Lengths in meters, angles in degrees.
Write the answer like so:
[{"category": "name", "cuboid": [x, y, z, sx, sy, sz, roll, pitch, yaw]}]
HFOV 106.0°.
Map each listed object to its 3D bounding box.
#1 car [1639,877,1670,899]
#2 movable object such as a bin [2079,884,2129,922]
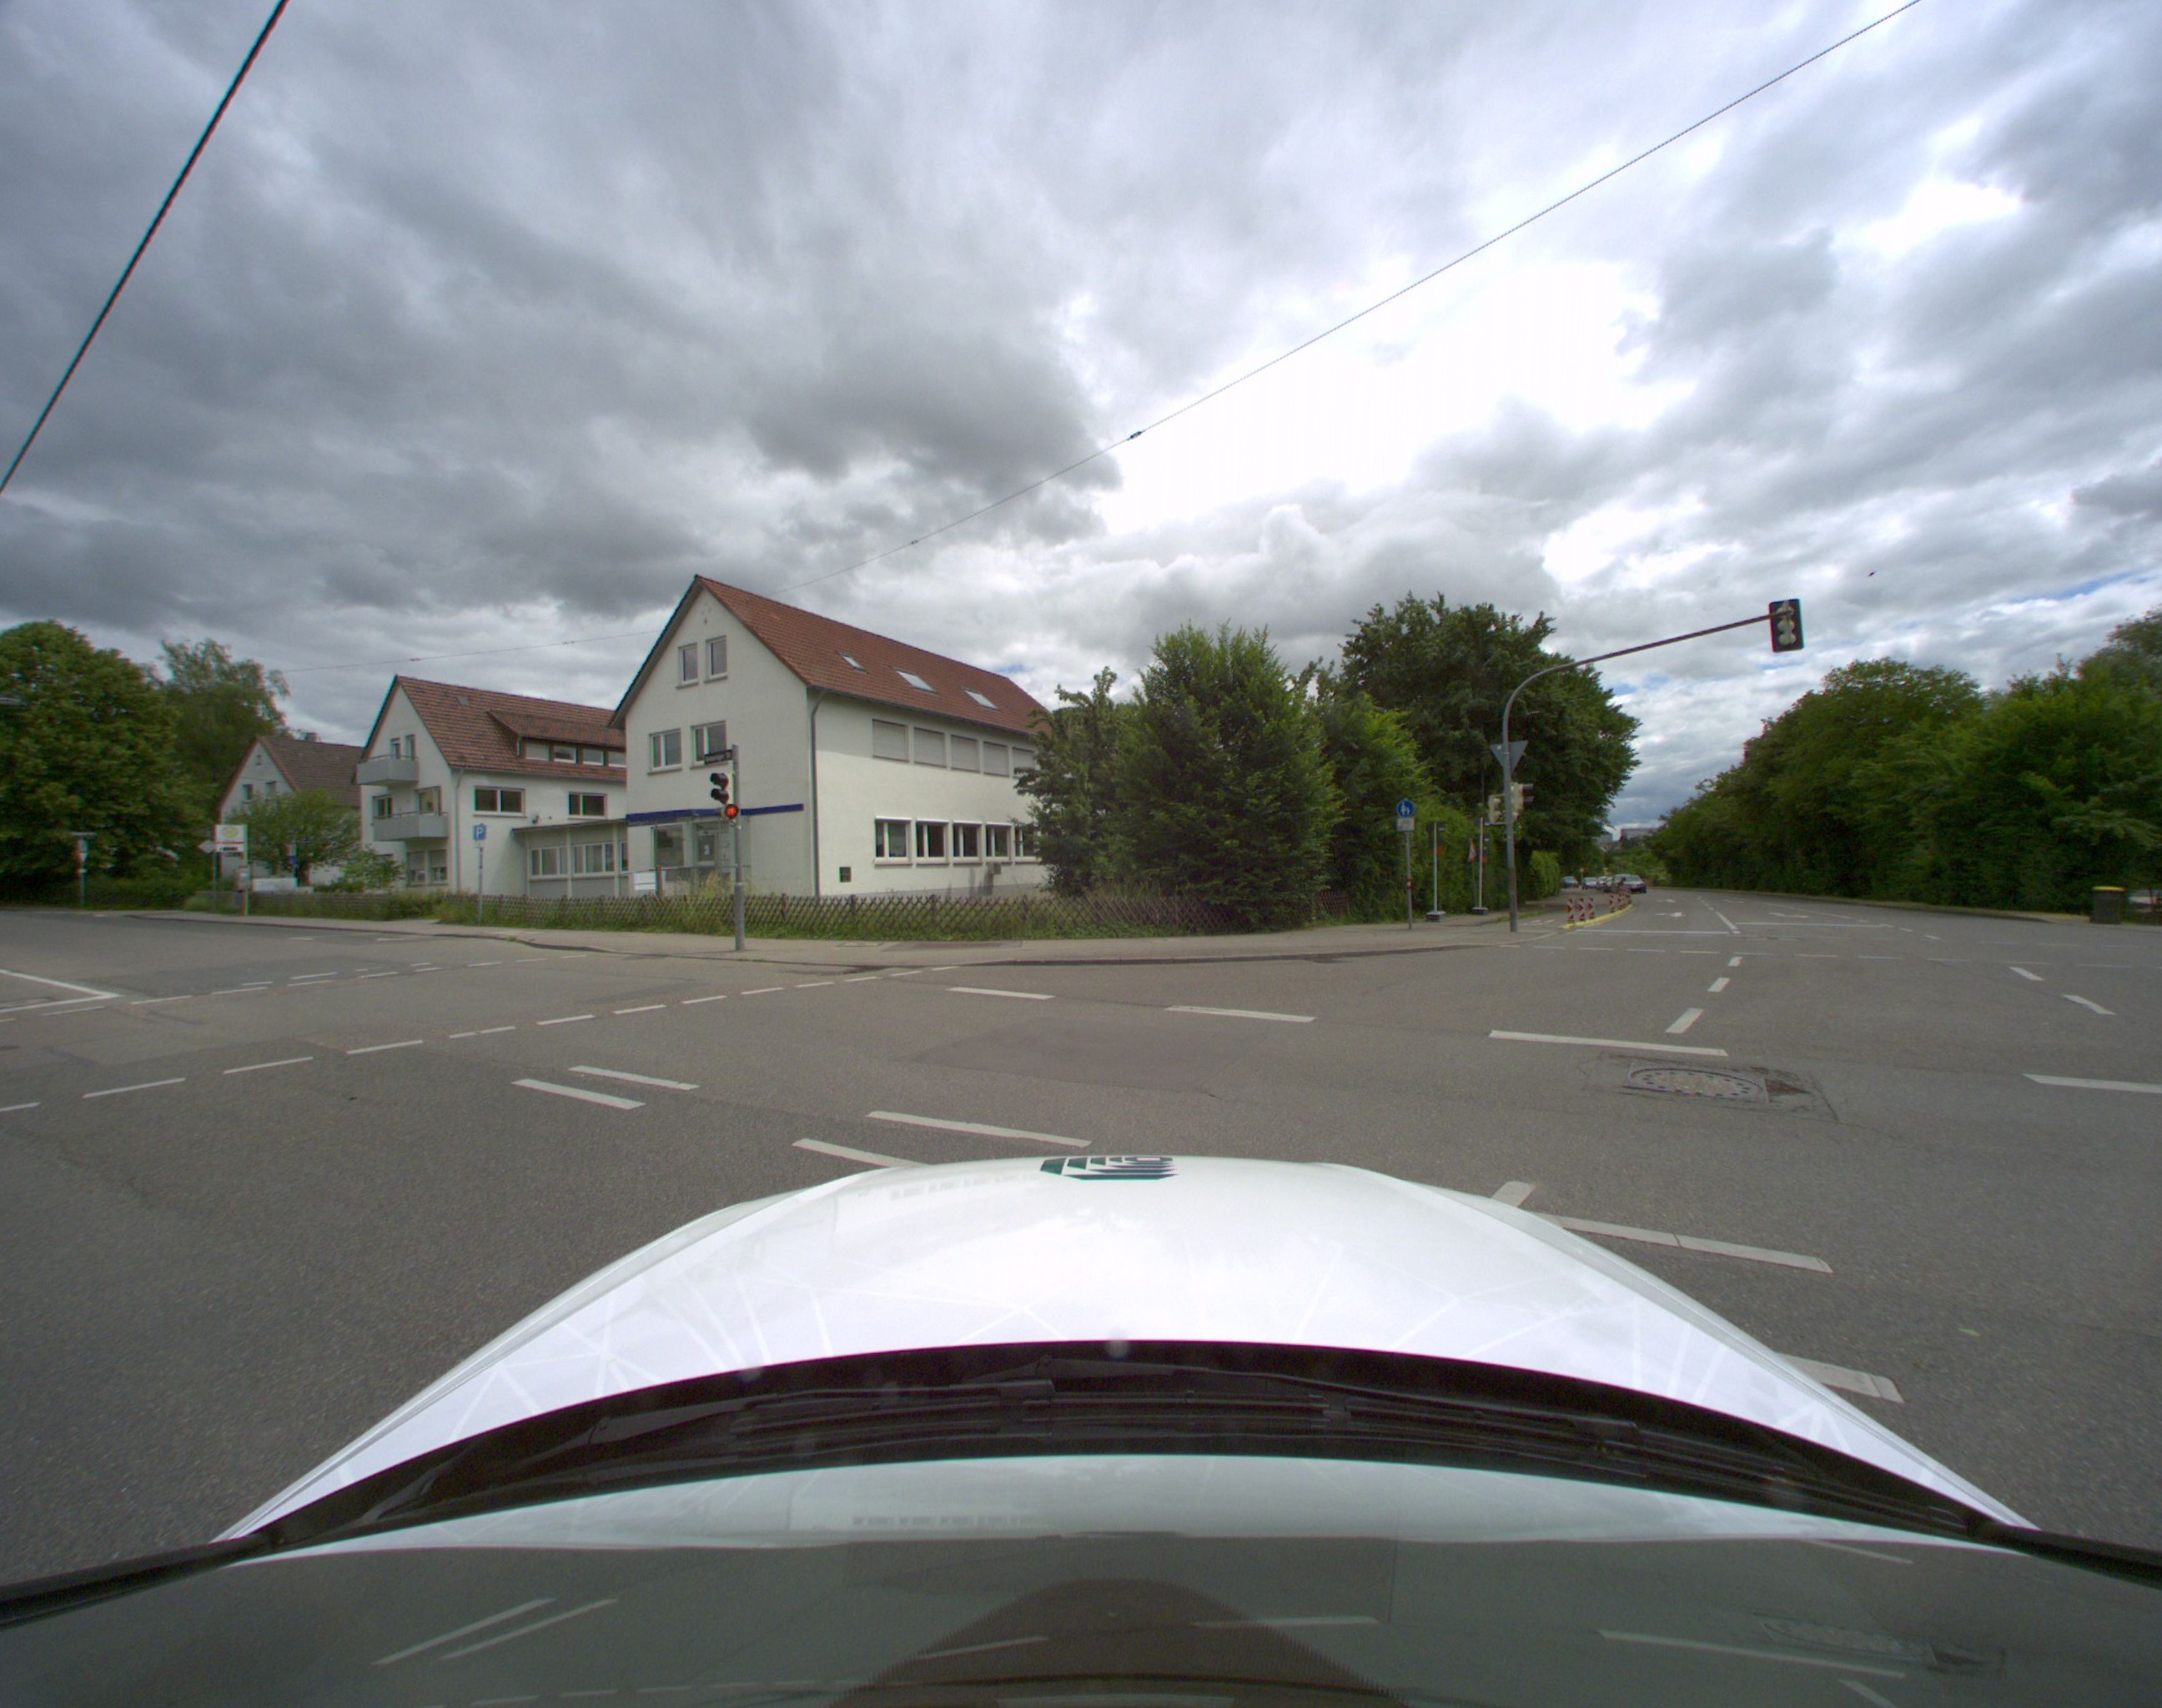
[{"category": "car", "cuboid": [48.633, 2.876, 69.132, 1.974, 1.750, 4.025, -3, -2, 33]}, {"category": "movable object such as a bin", "cuboid": [25.446, 1.217, 20.263, 0.603, 0.906, 0.589, -2, -1, -22]}]
